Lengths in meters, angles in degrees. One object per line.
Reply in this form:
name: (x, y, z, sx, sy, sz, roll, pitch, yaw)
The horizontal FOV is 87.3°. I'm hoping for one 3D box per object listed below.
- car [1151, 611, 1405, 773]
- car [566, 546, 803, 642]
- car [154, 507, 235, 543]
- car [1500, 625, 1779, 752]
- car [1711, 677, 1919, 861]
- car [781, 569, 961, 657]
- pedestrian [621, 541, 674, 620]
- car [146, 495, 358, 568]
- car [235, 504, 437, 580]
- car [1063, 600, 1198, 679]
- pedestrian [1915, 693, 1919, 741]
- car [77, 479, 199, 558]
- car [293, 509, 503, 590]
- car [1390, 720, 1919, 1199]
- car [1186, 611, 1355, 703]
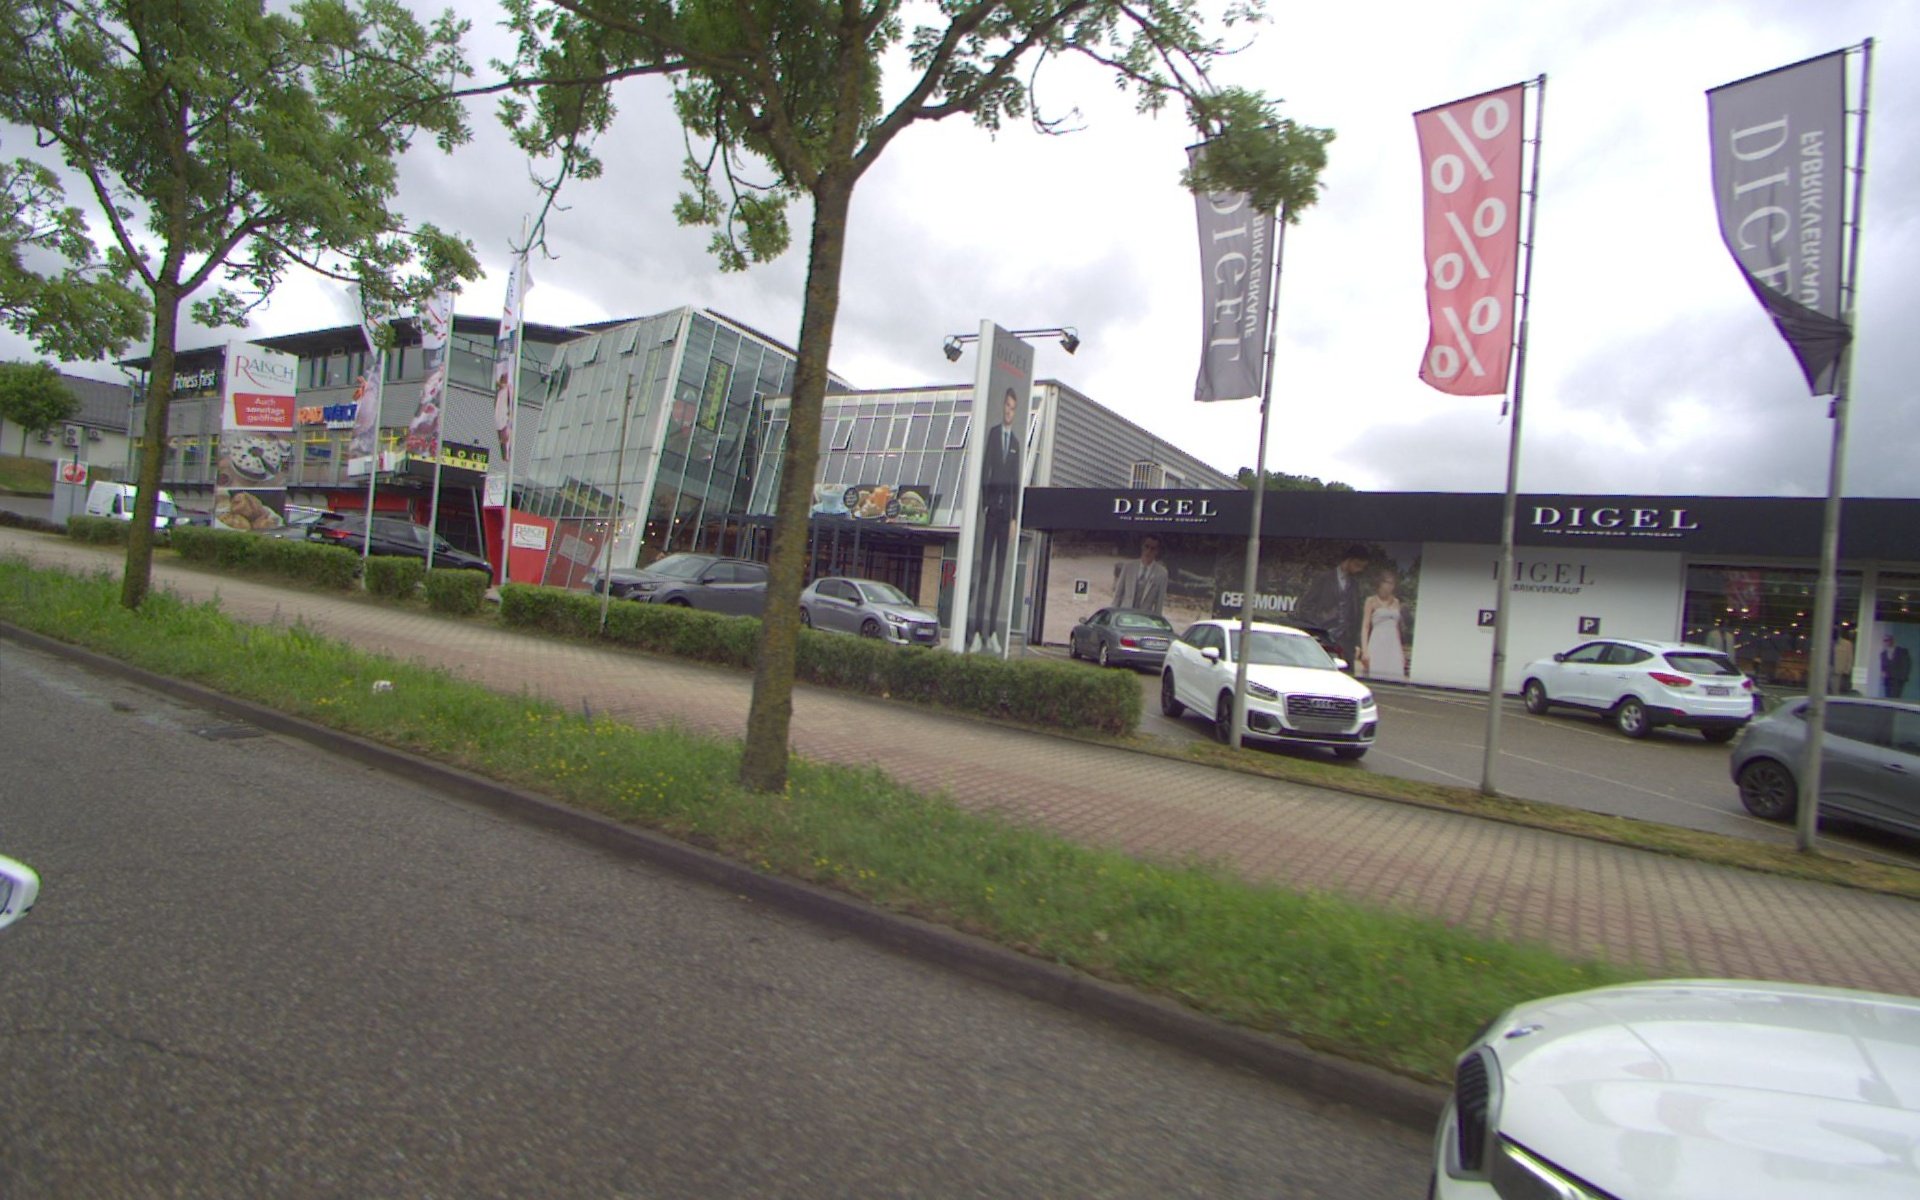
car: (4.020, 1.083, 13.549, 1.757, 1.493, 4.175, 5, 2, -4)
car: (-5.115, -0.088, 19.199, 1.832, 1.493, 4.168, 7, 3, 32)
car: (-41.993, -4.086, 55.286, 1.710, 1.520, 3.867, 8, 1, -7)
car: (12.464, 1.528, 18.898, 1.767, 1.704, 4.489, 4, 2, -5)
car: (9.788, 1.766, 9.588, 1.713, 1.457, 4.007, 5, 2, -10)
car: (-2.086, 0.265, 22.712, 1.754, 1.465, 4.068, 3, 4, -45)
pedestrian: (-7.640, -0.471, 24.617, 0.837, 1.810, 0.632, 6, -1, 32)
car: (-20.120, -1.922, 28.730, 1.900, 1.622, 4.641, 8, 3, 42)
car: (-16.461, -1.485, 26.726, 1.799, 1.622, 4.164, 7, 3, 35)
car: (3.949, 0.879, 24.164, 1.768, 1.415, 4.486, 3, 2, -9)
pedestrian: (18.645, 1.687, 18.976, 0.647, 2.037, 0.612, 6, -1, 33)
car: (-33.917, -3.370, 41.456, 5.590, 2.567, 2.229, 8, -1, 35)
car: (-13.916, -1.211, 25.111, 1.772, 1.622, 4.164, 7, 3, 35)
car: (3.004, 1.186, 1.126, 4.467, 1.456, 1.807, 5, -3, 32)
car: (6.582, 1.151, 21.821, 1.769, 1.499, 4.031, 3, 2, -10)
